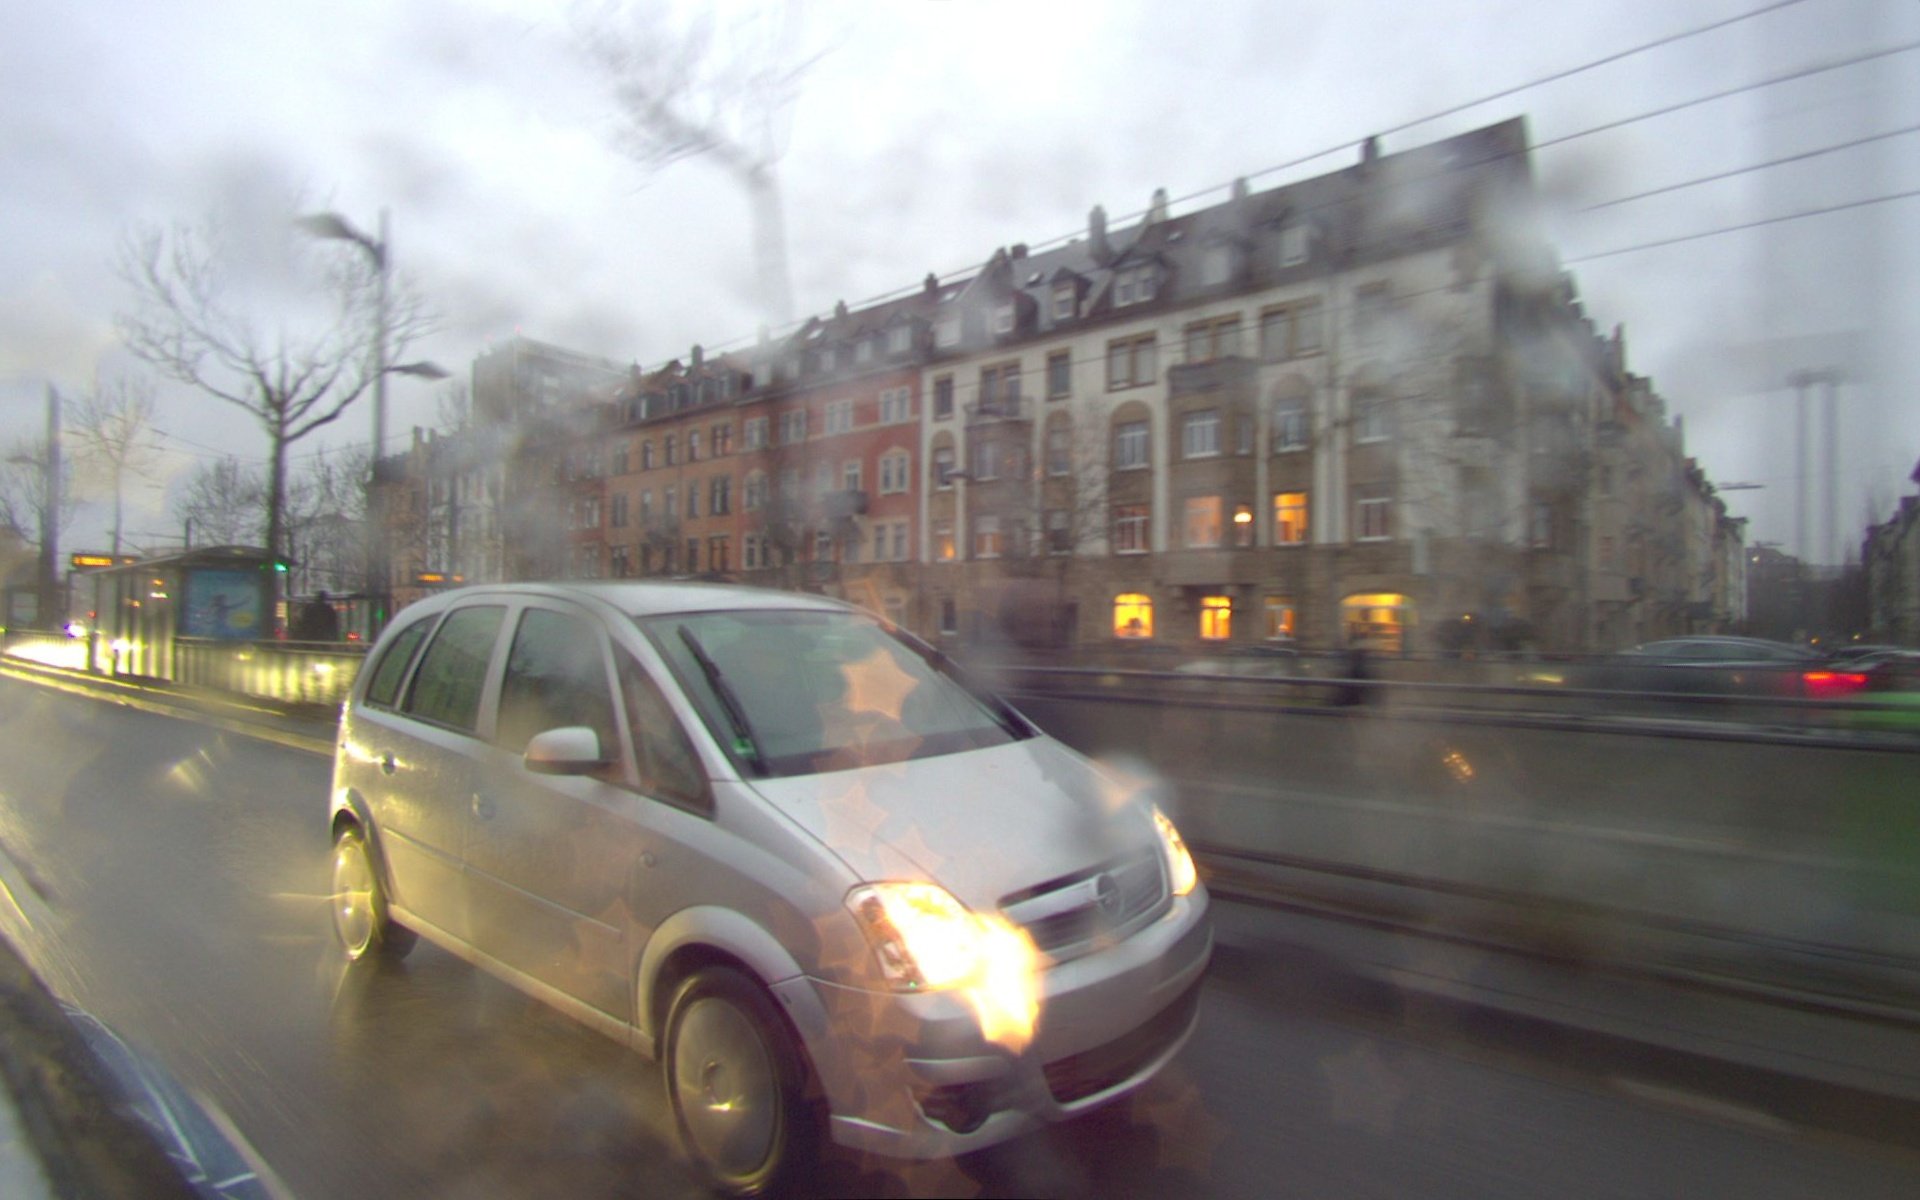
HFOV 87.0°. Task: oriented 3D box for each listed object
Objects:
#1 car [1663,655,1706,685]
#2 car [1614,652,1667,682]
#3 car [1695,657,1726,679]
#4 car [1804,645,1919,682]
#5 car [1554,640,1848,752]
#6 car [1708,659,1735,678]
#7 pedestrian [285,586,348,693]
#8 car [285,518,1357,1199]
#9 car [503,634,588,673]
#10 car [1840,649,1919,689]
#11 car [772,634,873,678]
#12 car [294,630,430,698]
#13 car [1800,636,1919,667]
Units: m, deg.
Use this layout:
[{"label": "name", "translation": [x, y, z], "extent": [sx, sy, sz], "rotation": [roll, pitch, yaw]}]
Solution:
[{"label": "car", "translation": [33.176, 3.192, 46.311], "extent": [1.330, 1.298, 2.860], "rotation": [-1, -3, 40]}, {"label": "car", "translation": [25.954, 2.542, 38.579], "extent": [1.330, 1.083, 2.860], "rotation": [-1, -4, 40]}, {"label": "car", "translation": [45.859, 4.139, 61.824], "extent": [1.330, 1.298, 2.860], "rotation": [0, -3, 40]}, {"label": "car", "translation": [32.685, 2.215, 35.705], "extent": [1.838, 1.221, 4.013], "rotation": [2, -3, -25]}, {"label": "car", "translation": [12.931, 1.578, 17.812], "extent": [3.998, 1.650, 1.845], "rotation": [-2, -1, 41]}, {"label": "car", "translation": [54.554, 4.906, 72.500], "extent": [1.330, 1.298, 2.860], "rotation": [-2, -4, 40]}, {"label": "pedestrian", "translation": [-12.639, 0.789, 19.879], "extent": [0.864, 2.029, 0.932], "rotation": [4, -4, -38]}, {"label": "car", "translation": [-0.857, 0.700, 3.848], "extent": [4.050, 1.612, 1.791], "rotation": [-1, -2, 40]}, {"label": "car", "translation": [-17.715, 2.278, 43.209], "extent": [3.744, 1.546, 1.662], "rotation": [-1, -4, 38]}, {"label": "car", "translation": [30.843, 2.198, 32.070], "extent": [1.838, 1.221, 4.013], "rotation": [2, -3, -25]}, {"label": "car", "translation": [-4.712, 1.896, 34.553], "extent": [3.258, 1.418, 1.660], "rotation": [-1, -4, 41]}, {"label": "car", "translation": [-14.578, 1.508, 24.591], "extent": [3.998, 1.497, 1.646], "rotation": [-1, -3, 41]}, {"label": "car", "translation": [38.114, 2.139, 42.436], "extent": [1.838, 1.221, 4.013], "rotation": [2, -3, -25]}]
